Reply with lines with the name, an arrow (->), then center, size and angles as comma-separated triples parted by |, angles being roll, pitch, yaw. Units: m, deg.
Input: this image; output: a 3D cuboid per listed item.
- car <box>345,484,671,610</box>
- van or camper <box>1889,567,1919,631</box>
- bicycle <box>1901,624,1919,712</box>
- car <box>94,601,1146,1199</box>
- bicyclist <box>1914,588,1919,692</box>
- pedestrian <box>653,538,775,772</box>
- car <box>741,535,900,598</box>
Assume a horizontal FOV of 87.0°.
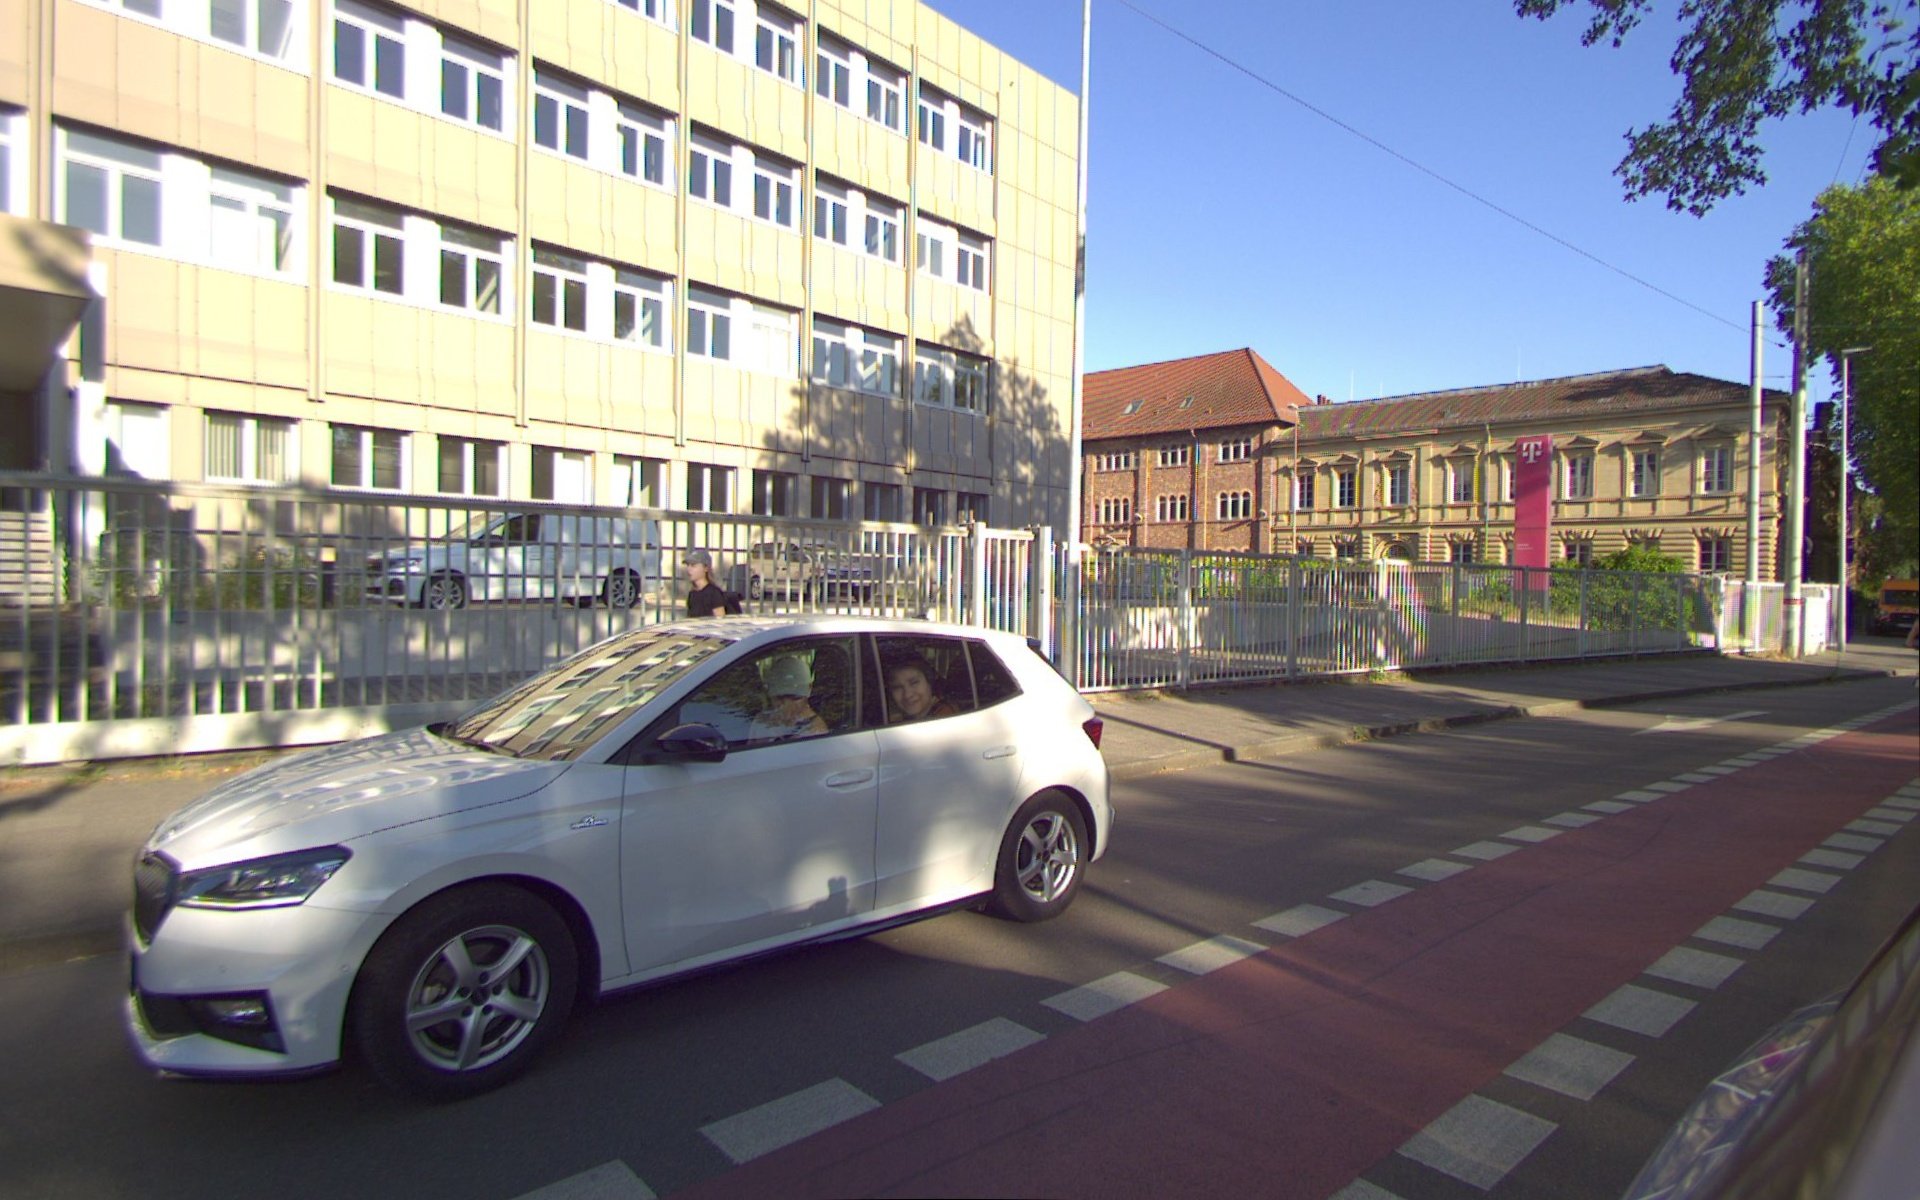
car -> -7.589, -0.823, 17.326 | 1.994, 1.865, 4.709 | 2, 2, 44
van or camper -> 41.140, -0.059, 43.234 | 1.994, 2.626, 5.537 | 0, 0, 44
bicycle -> 13.858, 0.926, 14.080 | 2.264, 1.158, 0.764 | 0, 1, -38
car -> -1.105, 0.726, 4.397 | 4.005, 1.406, 1.703 | 0, 0, -42
bicyclist -> 13.812, 0.558, 14.041 | 0.843, 1.440, 0.728 | 0, 0, -38
pedestrian -> -1.990, 0.408, 8.181 | 0.757, 1.784, 0.592 | 0, 1, -41
car -> -3.926, -0.921, 27.991 | 4.563, 1.601, 1.968 | 2, 2, 44
